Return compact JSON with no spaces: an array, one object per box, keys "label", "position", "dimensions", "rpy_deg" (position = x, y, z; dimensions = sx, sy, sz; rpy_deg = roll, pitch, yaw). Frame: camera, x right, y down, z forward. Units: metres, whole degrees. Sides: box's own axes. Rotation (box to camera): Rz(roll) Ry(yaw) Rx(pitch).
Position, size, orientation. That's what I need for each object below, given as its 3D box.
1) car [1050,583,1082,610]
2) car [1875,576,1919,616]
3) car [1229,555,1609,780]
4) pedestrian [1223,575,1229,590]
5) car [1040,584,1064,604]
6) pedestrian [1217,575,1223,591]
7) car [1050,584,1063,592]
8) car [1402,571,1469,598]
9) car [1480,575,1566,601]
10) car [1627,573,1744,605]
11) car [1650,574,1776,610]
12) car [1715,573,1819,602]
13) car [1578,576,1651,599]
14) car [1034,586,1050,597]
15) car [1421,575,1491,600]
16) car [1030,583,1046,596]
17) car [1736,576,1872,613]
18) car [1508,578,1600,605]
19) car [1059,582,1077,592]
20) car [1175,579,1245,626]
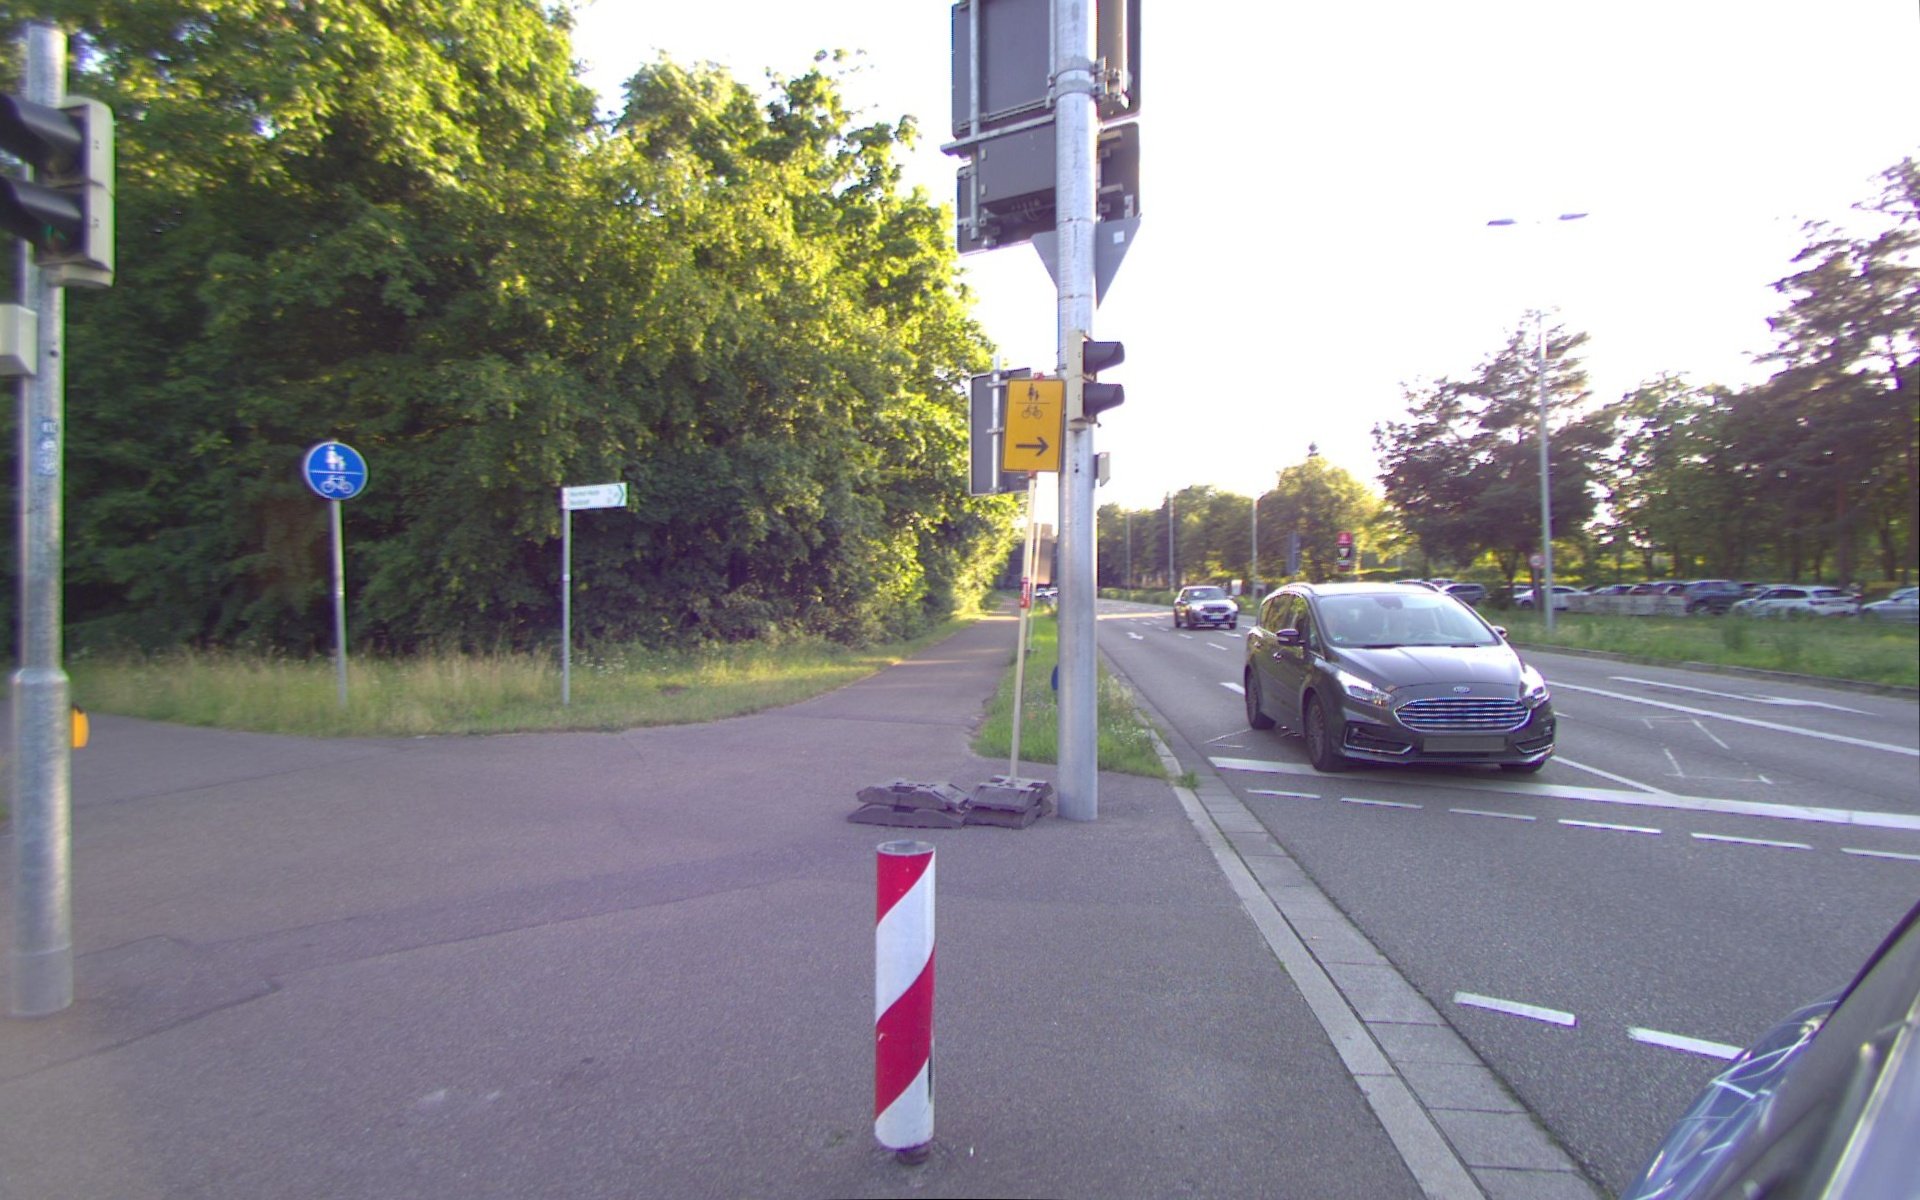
[{"label":"car","position":[6.983,-0.249,67.010],"dimensions":[1.965,1.644,4.390],"rpy_deg":[-2,1,6]},{"label":"car","position":[32.760,-0.130,33.233],"dimensions":[1.831,1.349,3.999],"rpy_deg":[0,1,2]},{"label":"car","position":[4.099,0.508,10.079],"dimensions":[1.977,1.682,4.813],"rpy_deg":[-1,0,6]},{"label":"pedestrian","position":[30.522,-1.998,115.978],"dimensions":[0.558,1.797,0.675],"rpy_deg":[-2,0,7]},{"label":"car","position":[7.849,-0.546,85.953],"dimensions":[1.965,1.644,4.390],"rpy_deg":[-2,1,6]},{"label":"pedestrian","position":[29.845,-1.963,116.041],"dimensions":[0.558,1.768,0.675],"rpy_deg":[-2,0,7]},{"label":"car","position":[16.404,-2.004,172.586],"dimensions":[1.711,1.304,3.747],"rpy_deg":[0,1,-3]},{"label":"car","position":[33.943,-1.133,72.342],"dimensions":[3.931,1.888,1.822],"rpy_deg":[0,1,7]},{"label":"car","position":[33.562,-0.736,60.444],"dimensions":[4.095,1.497,1.782],"rpy_deg":[0,1,4]},{"label":"car","position":[33.627,-0.516,46.975],"dimensions":[3.928,1.471,1.998],"rpy_deg":[0,1,4]},{"label":"car","position":[32.358,-0.347,43.604],"dimensions":[3.981,1.497,1.758],"rpy_deg":[0,1,8]},{"label":"car","position":[41.384,-0.675,52.051],"dimensions":[1.831,1.424,4.546],"rpy_deg":[0,1,2]},{"label":"car","position":[41.946,-0.833,65.019],"dimensions":[1.831,1.424,4.546],"rpy_deg":[0,1,2]},{"label":"car","position":[11.939,-1.248,147.813],"dimensions":[1.836,1.423,4.078],"rpy_deg":[-2,1,-3]},{"label":"car","position":[33.902,-0.839,69.240],"dimensions":[3.931,1.657,1.822],"rpy_deg":[0,1,7]},{"label":"car","position":[10.307,-1.433,133.878],"dimensions":[1.965,1.644,4.390],"rpy_deg":[-2,1,6]},{"label":"car","position":[33.013,-0.245,39.772],"dimensions":[1.648,1.341,4.498],"rpy_deg":[0,1,2]},{"label":"car","position":[33.698,-0.467,57.513],"dimensions":[4.095,1.497,1.782],"rpy_deg":[0,1,4]},{"label":"car","position":[14.924,-1.797,139.729],"dimensions":[1.836,1.423,4.078],"rpy_deg":[-2,1,-2]},{"label":"car","position":[9.554,0.049,38.985],"dimensions":[1.965,1.644,4.390],"rpy_deg":[-2,1,6]}]
